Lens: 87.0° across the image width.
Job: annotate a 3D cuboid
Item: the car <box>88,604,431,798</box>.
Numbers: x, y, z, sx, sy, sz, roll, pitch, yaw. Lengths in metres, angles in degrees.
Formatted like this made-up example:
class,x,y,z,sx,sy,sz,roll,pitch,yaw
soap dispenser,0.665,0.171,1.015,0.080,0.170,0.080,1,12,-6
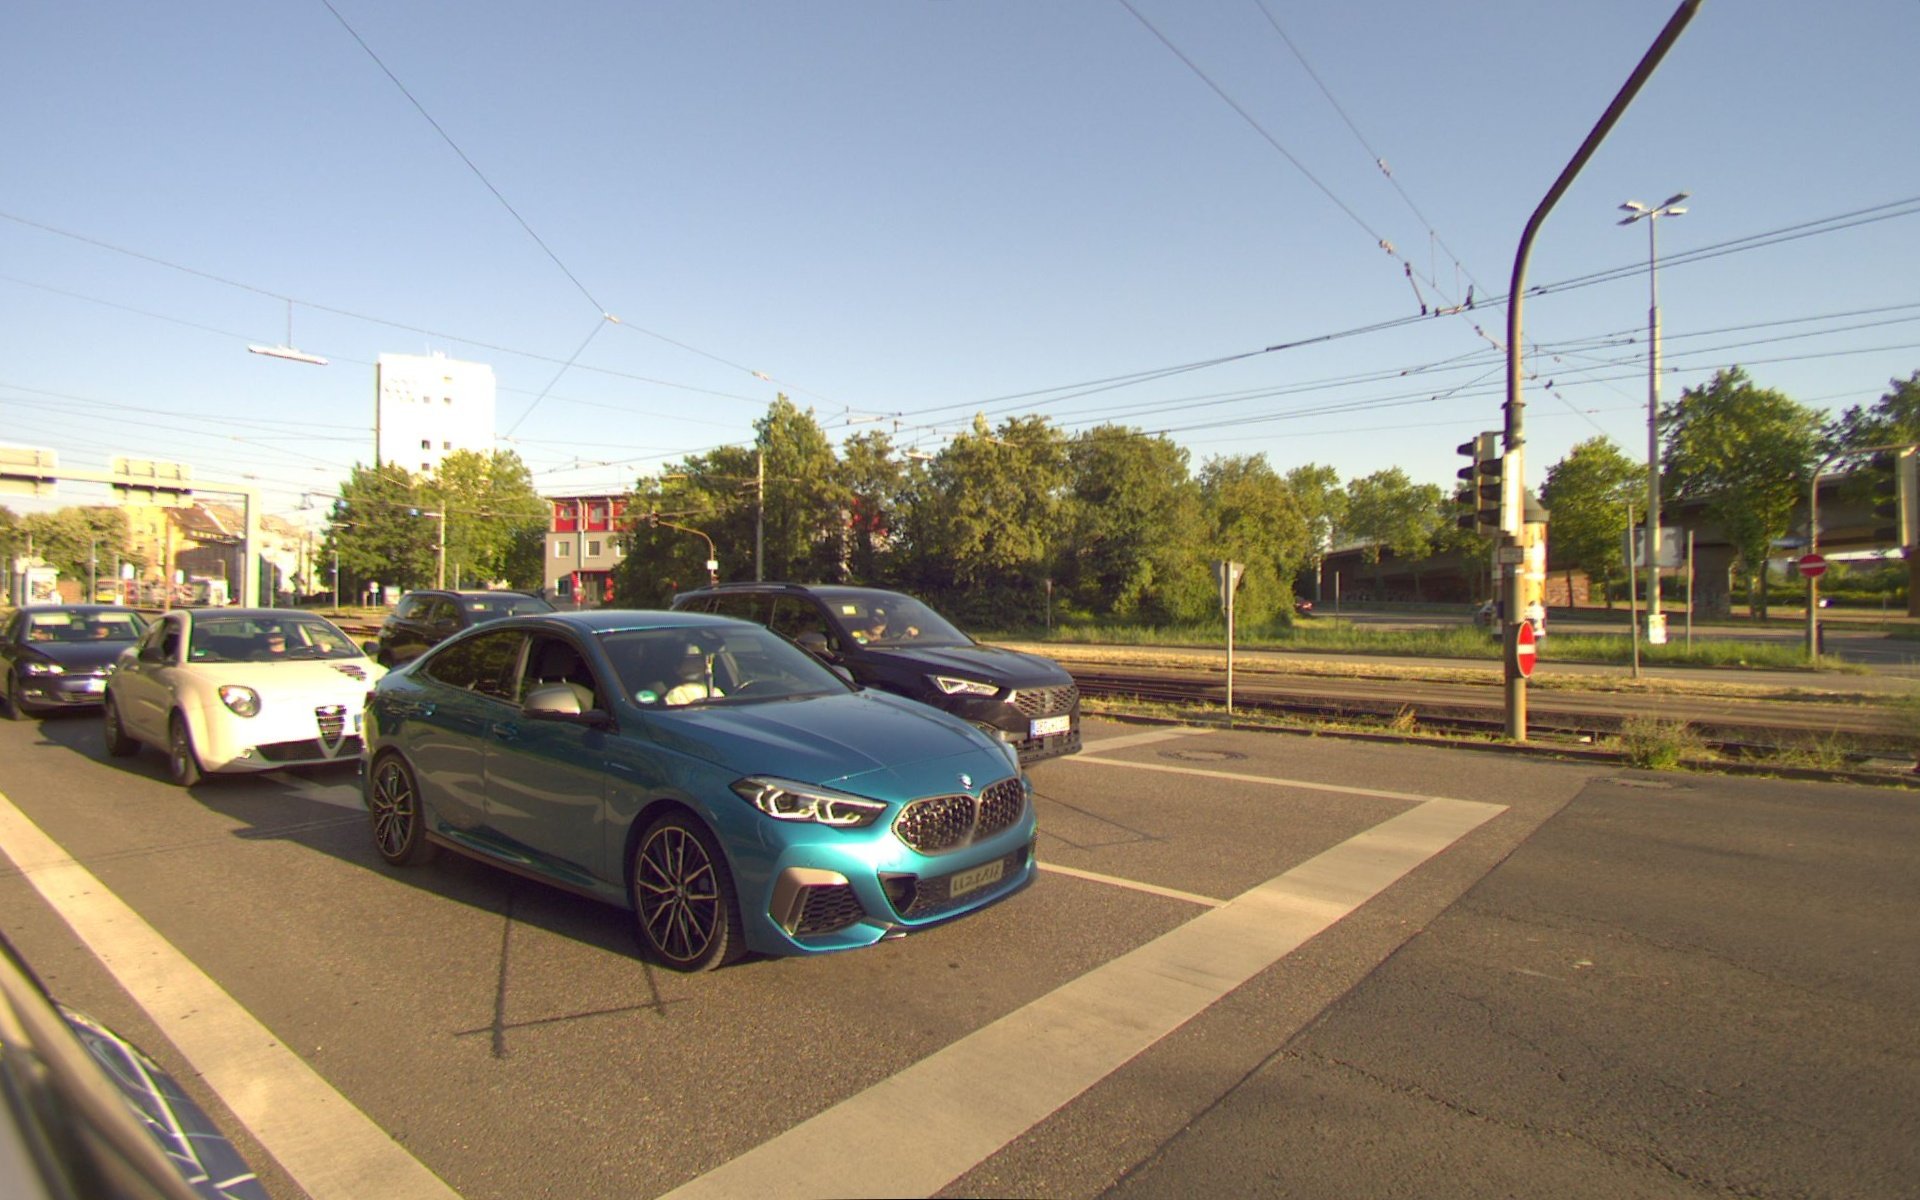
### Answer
class,x,y,z,sx,sy,sz,roll,pitch,yaw
car,-6.652,0.768,9.463,3.921,1.441,1.644,0,-1,40

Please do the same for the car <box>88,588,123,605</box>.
class,x,y,z,sx,sy,sz,roll,pitch,yaw
car,-108.621,-0.459,128.710,1.966,2.029,4.012,0,0,-18

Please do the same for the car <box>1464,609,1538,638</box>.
class,x,y,z,sx,sy,sz,roll,pitch,yaw
car,28.363,1.238,53.206,1.975,1.497,3.993,0,-2,5

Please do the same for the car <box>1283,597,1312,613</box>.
class,x,y,z,sx,sy,sz,roll,pitch,yaw
car,34.756,0.530,104.282,1.975,1.497,3.993,0,-2,5

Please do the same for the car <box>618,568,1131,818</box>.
class,x,y,z,sx,sy,sz,roll,pitch,yaw
car,-0.950,0.641,9.071,4.597,1.694,1.896,0,-1,40

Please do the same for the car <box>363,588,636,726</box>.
class,x,y,z,sx,sy,sz,roll,pitch,yaw
car,-6.658,0.690,14.368,4.601,1.661,1.895,0,-1,43

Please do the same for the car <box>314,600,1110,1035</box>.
class,x,y,z,sx,sy,sz,roll,pitch,yaw
car,-1.602,0.723,5.432,4.507,1.428,1.767,0,-1,38

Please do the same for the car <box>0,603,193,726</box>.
class,x,y,z,sx,sy,sz,roll,pitch,yaw
car,-12.134,0.769,13.860,3.921,1.441,1.759,0,-1,40
